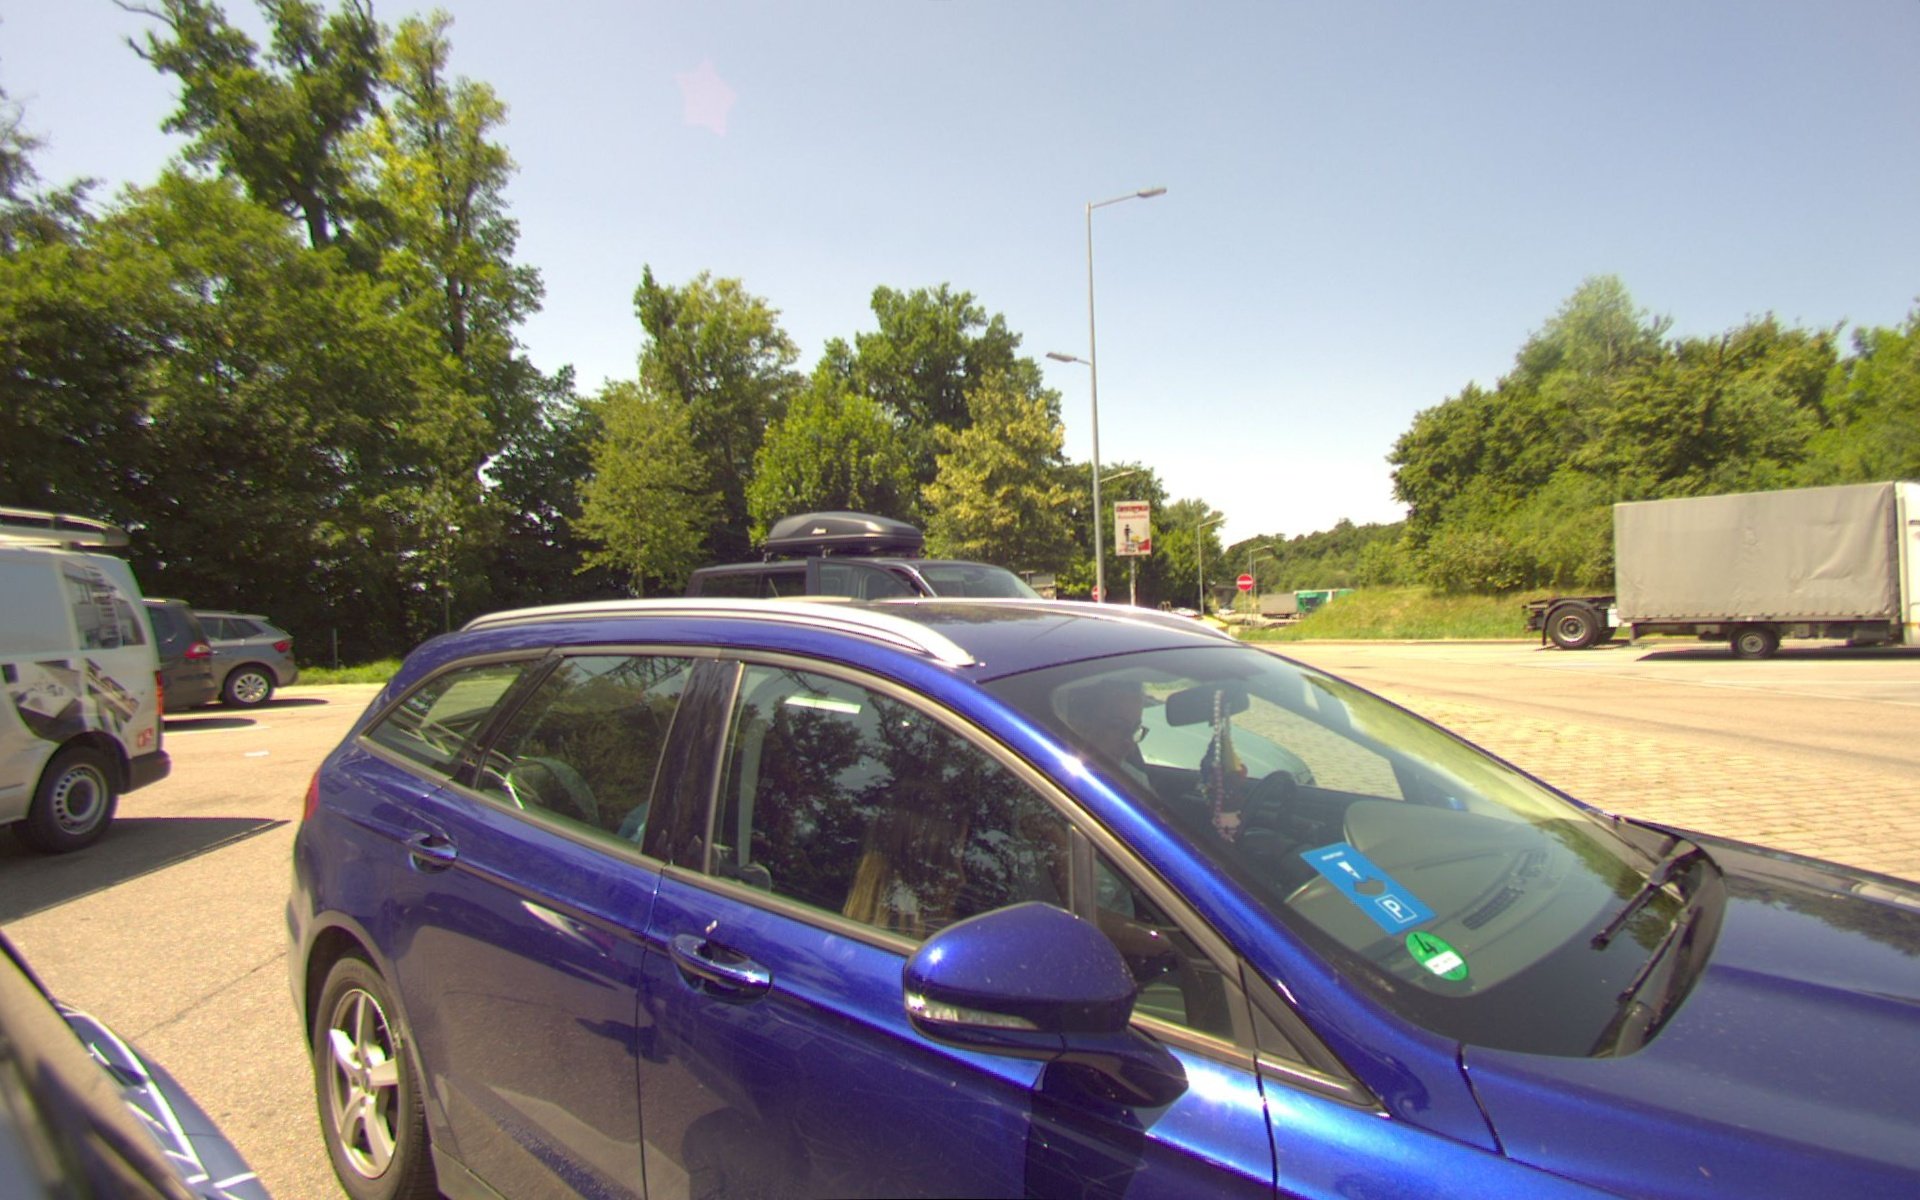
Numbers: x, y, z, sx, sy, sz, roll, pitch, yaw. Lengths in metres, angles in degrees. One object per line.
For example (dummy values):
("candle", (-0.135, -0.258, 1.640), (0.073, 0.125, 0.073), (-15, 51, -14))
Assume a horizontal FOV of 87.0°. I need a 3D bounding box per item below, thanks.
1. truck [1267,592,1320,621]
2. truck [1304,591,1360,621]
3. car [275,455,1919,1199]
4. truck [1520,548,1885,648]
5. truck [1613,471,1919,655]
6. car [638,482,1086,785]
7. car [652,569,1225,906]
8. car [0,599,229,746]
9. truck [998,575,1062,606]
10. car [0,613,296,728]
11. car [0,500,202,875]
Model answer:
("truck", (48.553, 0.930, 147.899), (2.682, 4.119, 11.506), (-1, 0, -7))
("truck", (54.021, 0.859, 147.341), (2.682, 4.119, 11.506), (-1, 0, -7))
("car", (0.257, 0.648, 2.100), (4.411, 1.429, 1.721), (-2, -1, 41))
("truck", (17.000, 0.057, 23.593), (6.613, 2.029, 1.973), (-2, -1, 41))
("truck", (16.637, -0.615, 18.812), (7.253, 3.175, 2.148), (-2, -1, 41))
("car", (-1.045, 0.320, 9.709), (4.076, 2.336, 1.767), (-2, -1, 35))
("car", (-0.274, 0.599, 5.657), (3.112, 1.370, 1.326), (-2, -1, 41))
("car", (-11.631, 0.868, 12.656), (1.755, 1.701, 3.798), (-2, -1, 45))
("truck", (3.378, -0.446, 48.746), (2.866, 1.386, 1.158), (-2, -1, 22))
("car", (-12.545, 0.998, 15.694), (3.535, 1.513, 1.708), (-1, 0, -42))
("car", (-6.250, 0.481, 4.662), (1.816, 2.121, 5.440), (0, -1, -5))
